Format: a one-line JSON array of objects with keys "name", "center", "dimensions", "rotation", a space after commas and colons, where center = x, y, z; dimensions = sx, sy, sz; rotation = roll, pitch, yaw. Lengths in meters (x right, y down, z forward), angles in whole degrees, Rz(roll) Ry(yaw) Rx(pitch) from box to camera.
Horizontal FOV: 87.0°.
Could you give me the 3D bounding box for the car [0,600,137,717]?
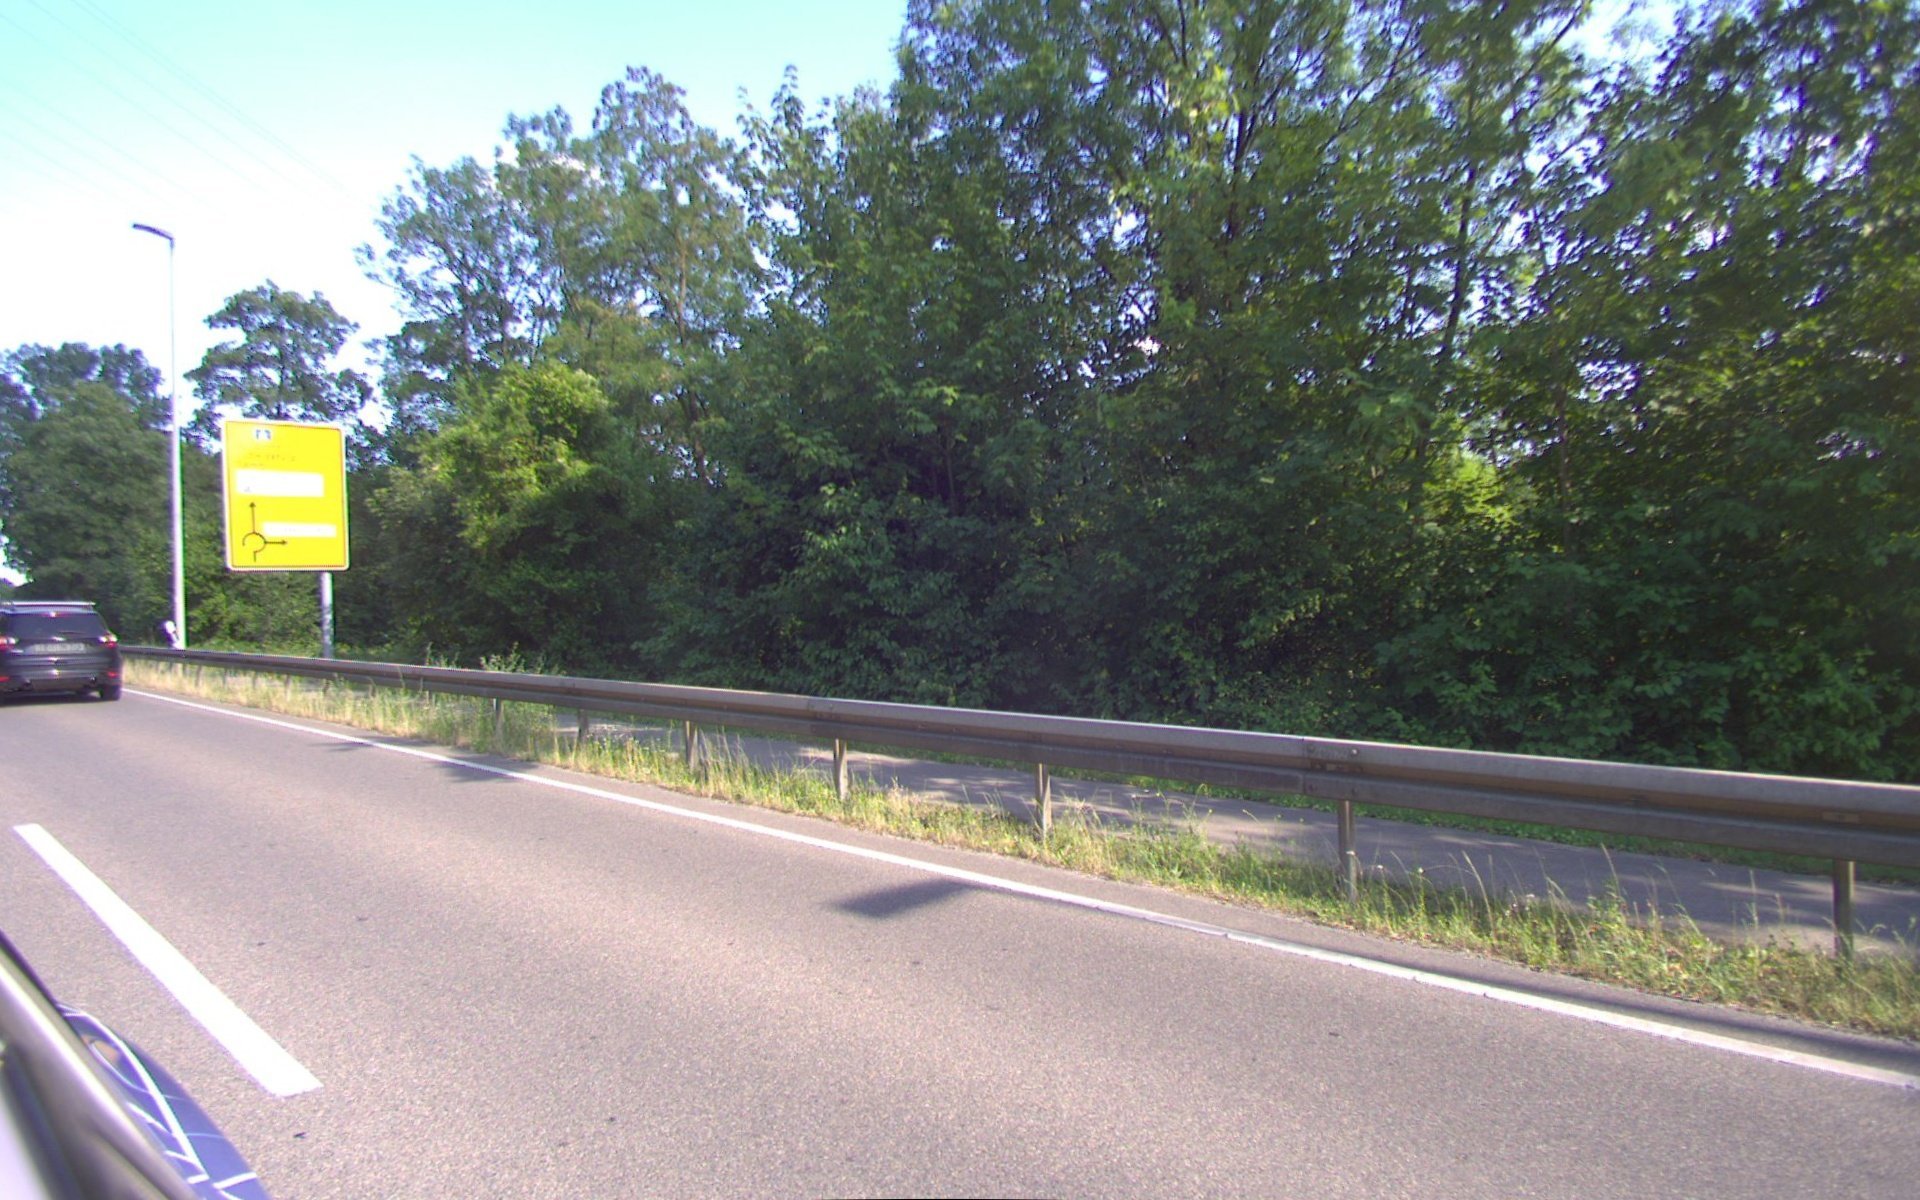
[{"name": "car", "center": [-15.221, 0.903, 16.946], "dimensions": [4.222, 1.730, 1.728], "rotation": [-1, -1, 44]}]
